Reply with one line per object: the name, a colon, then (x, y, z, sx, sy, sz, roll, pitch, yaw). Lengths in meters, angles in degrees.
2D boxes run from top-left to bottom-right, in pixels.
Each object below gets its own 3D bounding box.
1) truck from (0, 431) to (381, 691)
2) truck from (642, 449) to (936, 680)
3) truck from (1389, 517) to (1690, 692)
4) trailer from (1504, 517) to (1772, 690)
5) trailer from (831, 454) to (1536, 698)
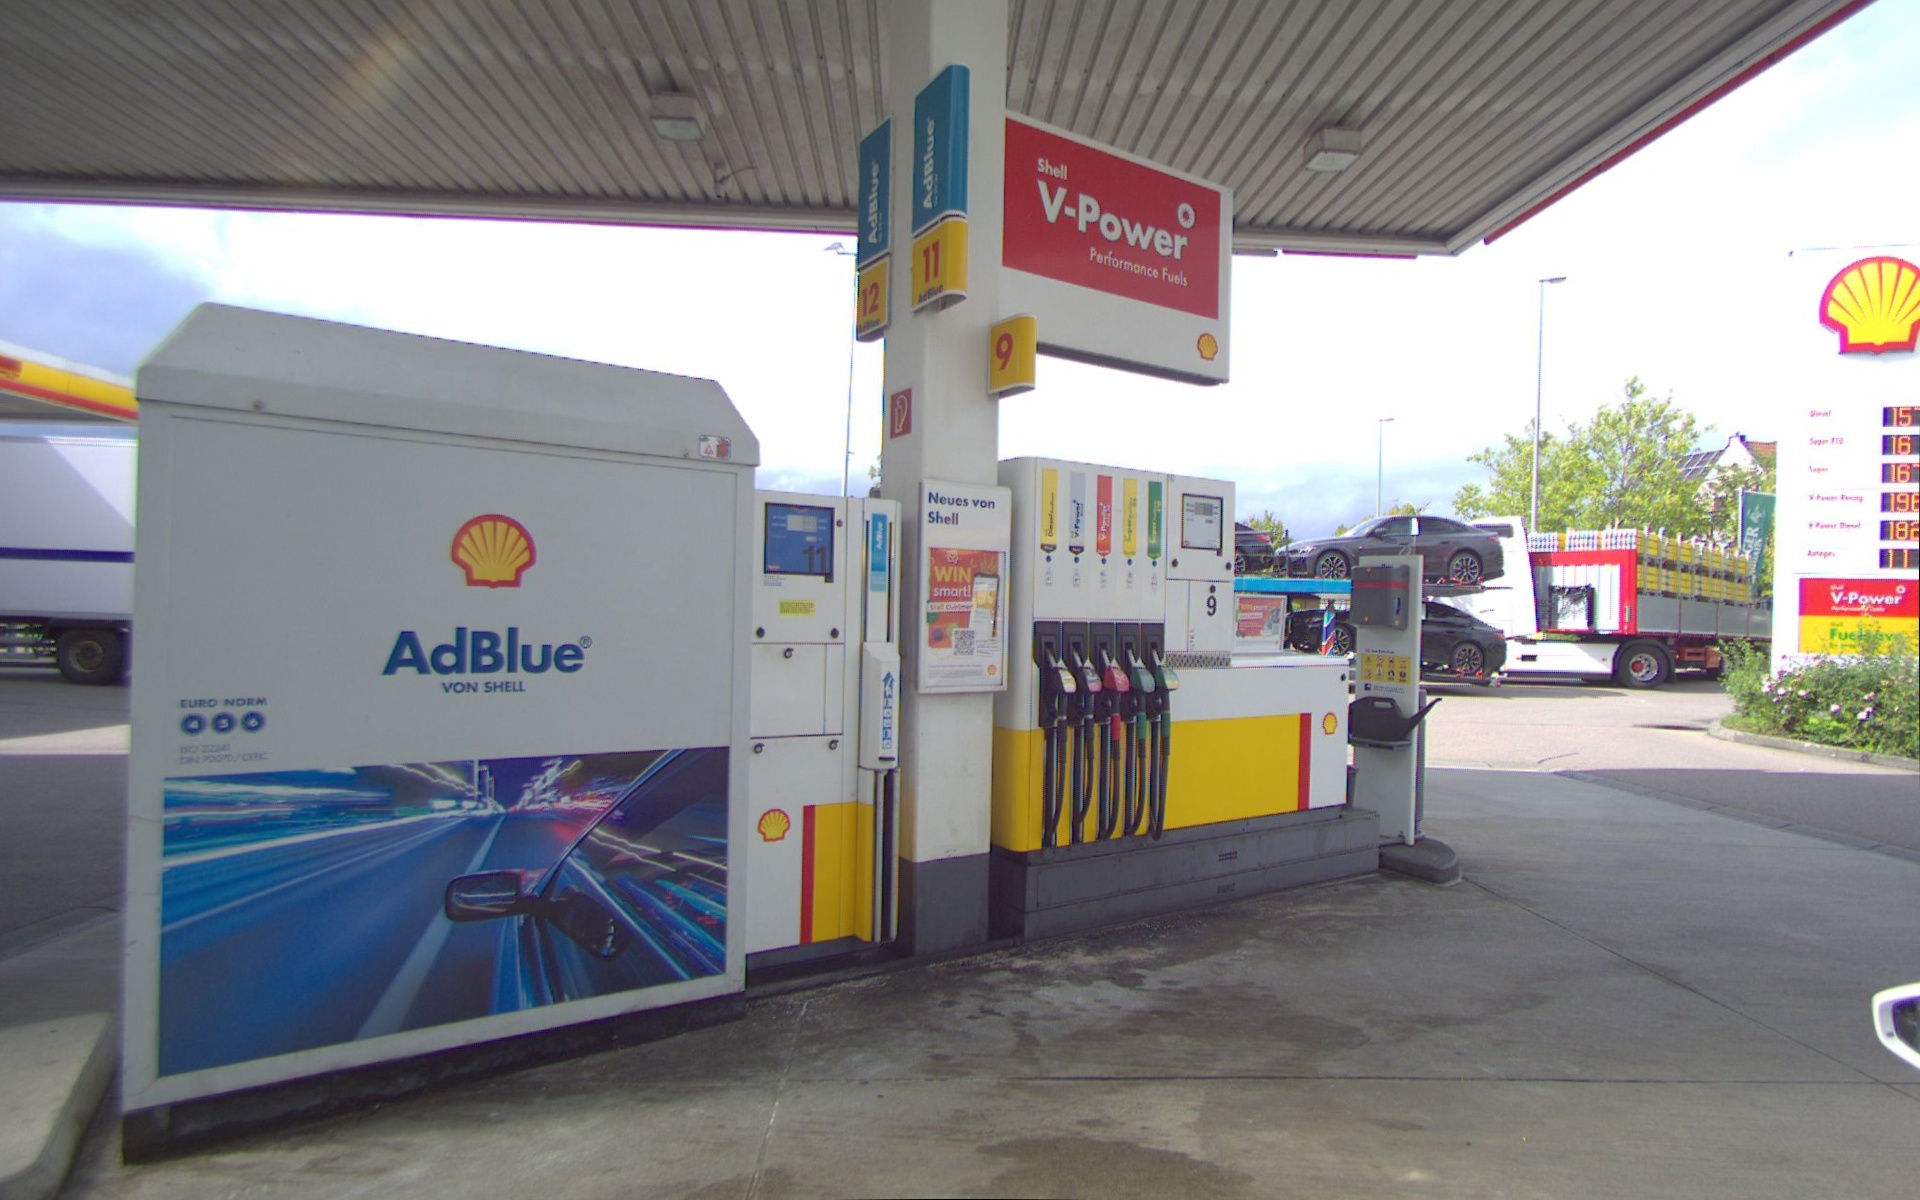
truck: (-17.316, -0.740, 17.500, 12.654, 4.092, 2.534, 2, 0, -3)
truck: (-3.465, -0.705, 21.547, 5.713, 4.479, 2.750, 2, 0, 0)
truck: (13.969, 0.057, 24.747, 5.799, 3.897, 2.743, 2, 0, 14)
trailer: (18.876, 0.221, 27.374, 12.610, 3.826, 2.707, 2, 0, -40)
trailer: (4.510, -0.469, 21.586, 14.077, 4.481, 2.746, 2, 0, 0)
